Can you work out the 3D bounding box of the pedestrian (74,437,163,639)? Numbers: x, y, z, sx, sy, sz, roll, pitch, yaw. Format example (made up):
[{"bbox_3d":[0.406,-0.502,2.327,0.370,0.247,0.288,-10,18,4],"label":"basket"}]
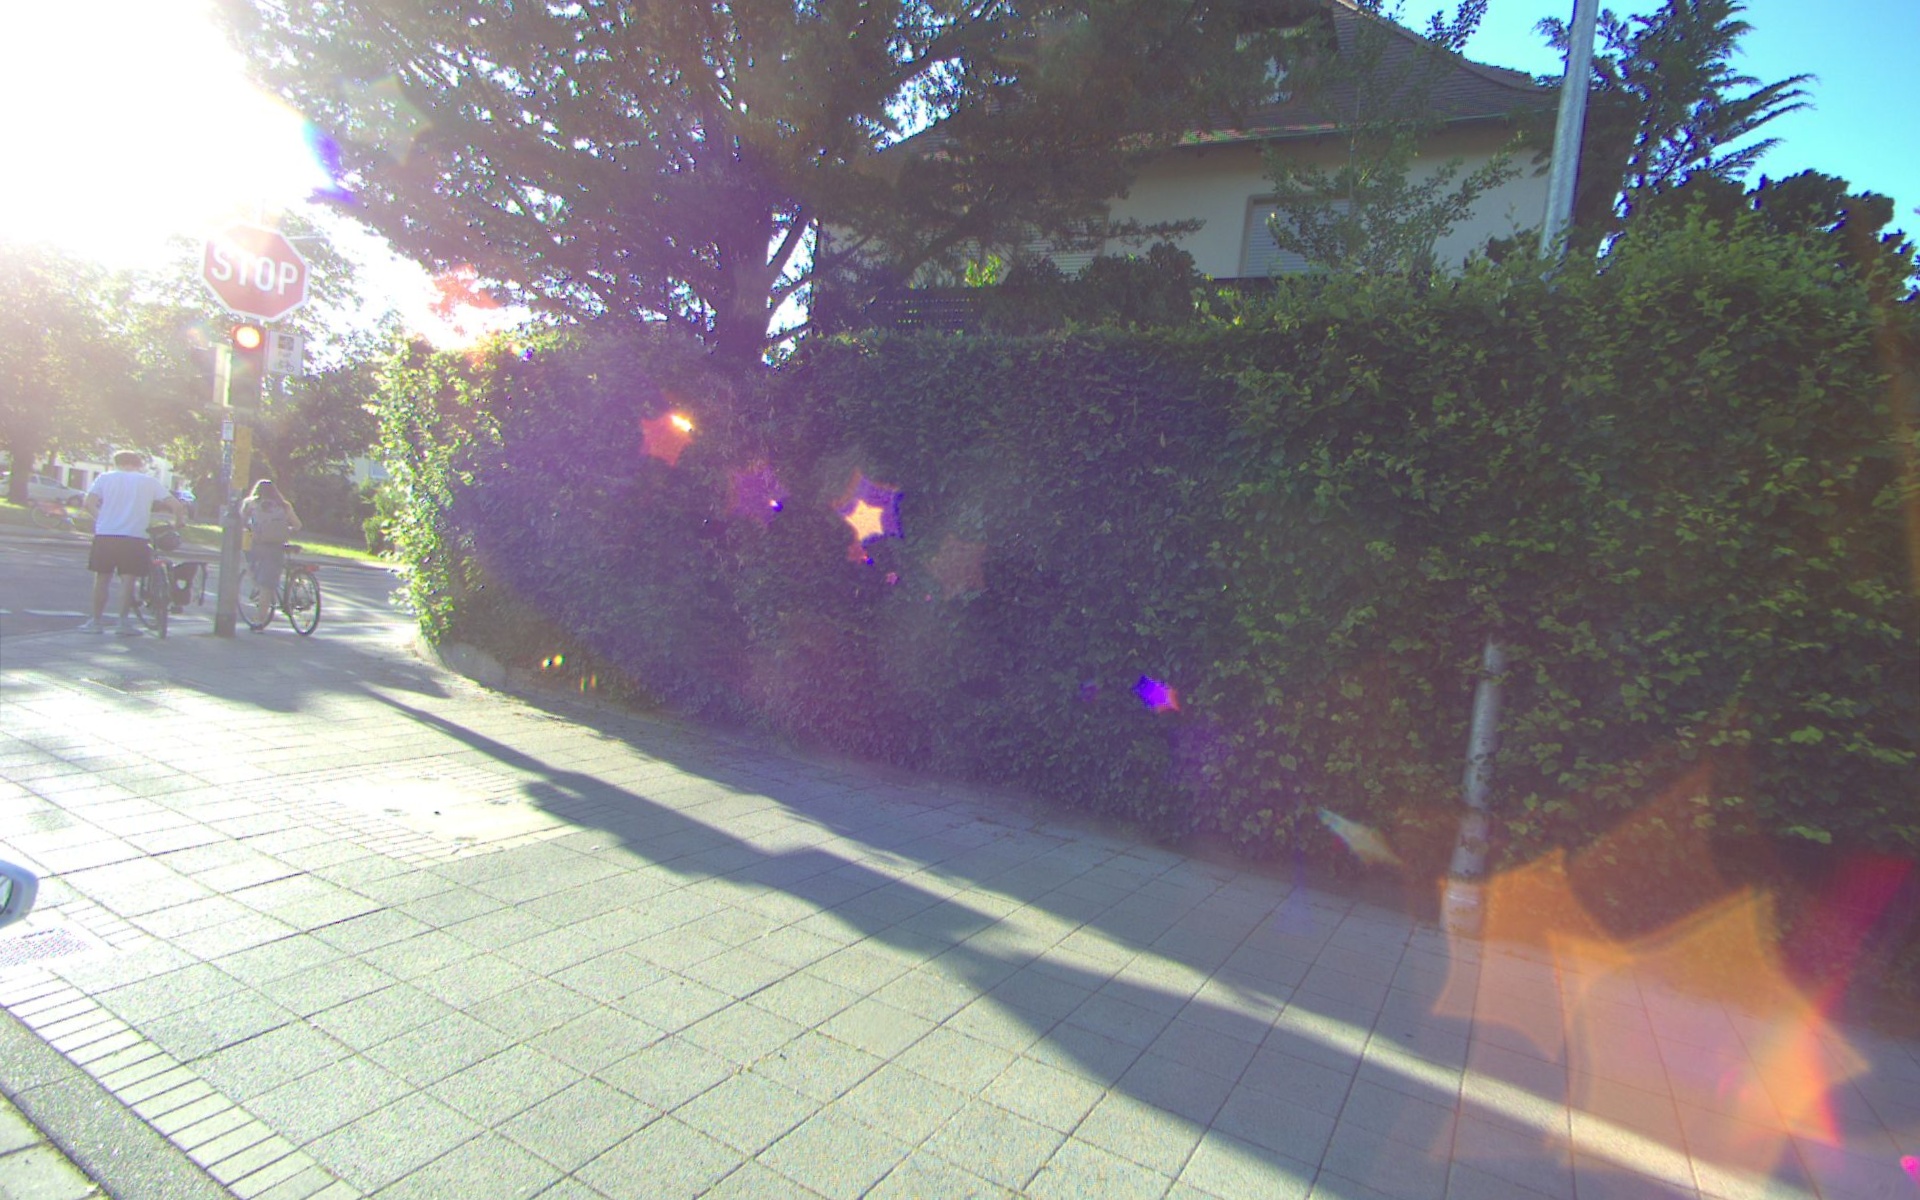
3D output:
[{"bbox_3d":[-8.316,-0.603,9.960,0.624,1.893,0.765,2,5,-40],"label":"pedestrian"}]

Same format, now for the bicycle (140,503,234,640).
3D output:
[{"bbox_3d":[-7.744,-0.323,10.081,0.570,1.198,1.885,8,-1,-38],"label":"bicycle"}]

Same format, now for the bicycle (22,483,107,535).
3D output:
[{"bbox_3d":[-23.356,-2.365,26.253,0.460,1.103,1.520,12,4,39],"label":"bicycle"}]

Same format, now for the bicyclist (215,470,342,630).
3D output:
[{"bbox_3d":[-7.295,-0.533,10.766,0.880,1.580,0.713,6,-1,36],"label":"bicyclist"}]

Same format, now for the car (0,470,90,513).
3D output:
[{"bbox_3d":[-46.438,-5.473,50.419,1.497,1.542,3.933,6,-2,25],"label":"car"}]
